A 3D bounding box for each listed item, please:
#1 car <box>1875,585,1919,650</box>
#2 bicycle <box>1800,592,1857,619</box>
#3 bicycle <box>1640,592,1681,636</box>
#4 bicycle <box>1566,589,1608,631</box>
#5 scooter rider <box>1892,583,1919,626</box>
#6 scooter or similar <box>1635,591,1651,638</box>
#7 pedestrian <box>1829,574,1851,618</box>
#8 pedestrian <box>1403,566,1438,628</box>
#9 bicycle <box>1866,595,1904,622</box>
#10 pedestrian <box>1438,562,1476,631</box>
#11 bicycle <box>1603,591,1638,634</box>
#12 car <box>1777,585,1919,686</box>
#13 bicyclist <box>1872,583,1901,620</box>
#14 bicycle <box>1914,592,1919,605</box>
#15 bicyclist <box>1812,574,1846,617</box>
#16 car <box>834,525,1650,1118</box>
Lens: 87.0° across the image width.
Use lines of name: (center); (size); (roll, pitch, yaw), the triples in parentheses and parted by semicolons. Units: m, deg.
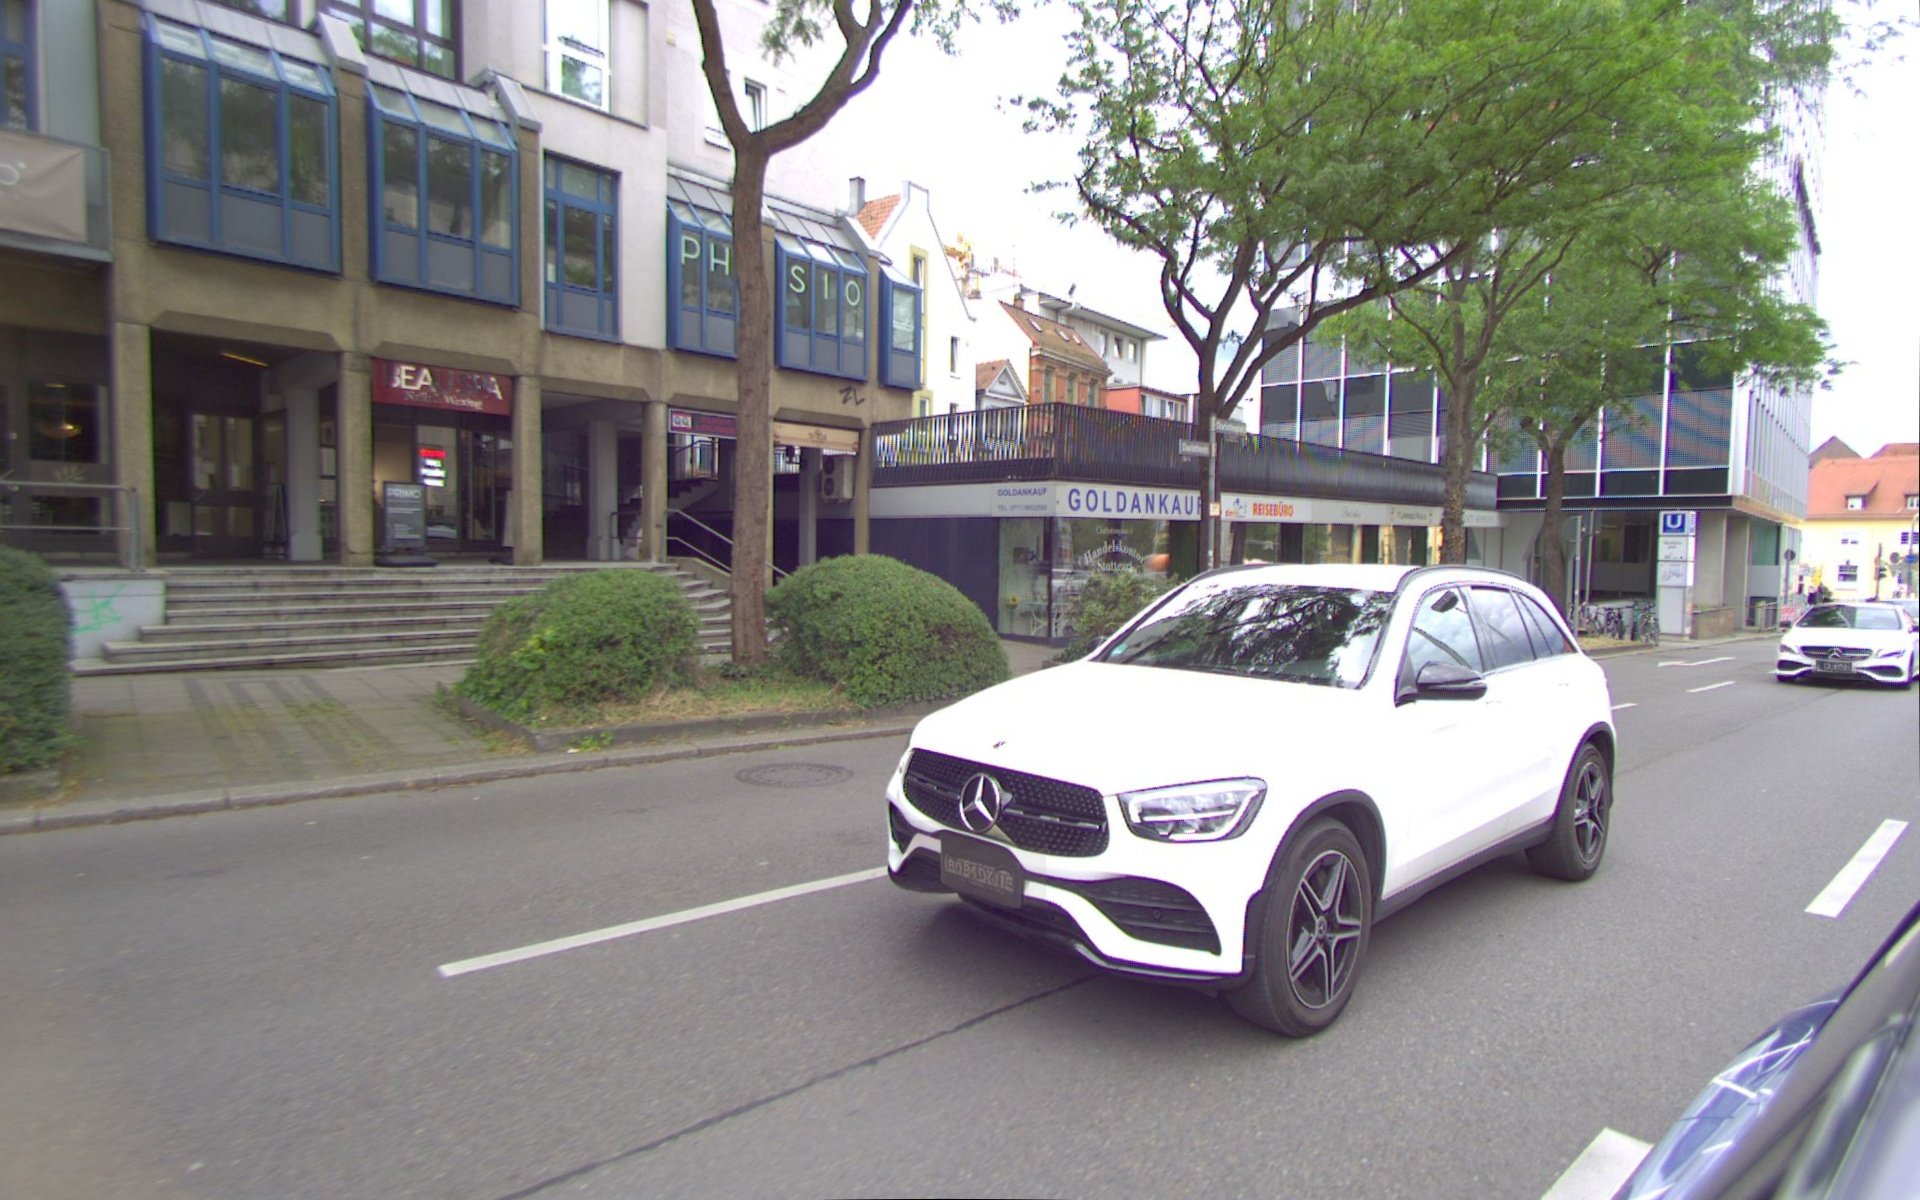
car: (24.903, 0.450, 25.953); (3.699, 1.551, 1.706); (0, 3, -42)
bicycle: (38.646, 0.245, 45.040); (0.666, 1.019, 1.772); (3, 3, -16)
bicycle: (19.072, 0.373, 27.535); (1.812, 1.146, 0.490); (0, 3, -42)
bicycle: (18.056, 0.272, 29.127); (1.659, 1.146, 0.490); (0, 3, -41)
scooter rider: (42.148, 0.200, 45.063); (0.583, 1.830, 0.642); (2, 3, 8)
scooter or similar: (19.042, 0.385, 28.212); (0.305, 1.267, 0.984); (3, 2, 35)
pedestrian: (36.132, -0.158, 41.550); (0.525, 1.731, 0.741); (5, 6, 43)
pedestrian: (12.650, -0.091, 27.812); (0.596, 1.648, 0.745); (4, 3, 43)
bicycle: (40.957, 0.368, 44.835); (0.574, 1.039, 1.659); (3, 4, 20)
pedestrian: (13.312, -0.101, 27.103); (0.596, 1.775, 0.926); (4, 3, 43)
bicycle: (18.503, 0.325, 28.334); (0.489, 1.146, 1.858); (3, 3, 43)
car: (16.322, 0.530, 18.162); (4.572, 1.589, 1.868); (0, 1, -42)
bicyclist: (40.932, 0.064, 44.721); (0.558, 1.568, 0.841); (3, 3, 20)
bicycle: (82.793, -0.120, 86.474); (0.609, 1.099, 1.774); (0, 2, -31)
bicyclist: (38.654, -0.208, 45.039); (0.661, 1.868, 0.816); (1, 3, -15)
car: (1.664, 0.555, 4.929); (4.260, 1.666, 1.805); (-1, 3, -42)
